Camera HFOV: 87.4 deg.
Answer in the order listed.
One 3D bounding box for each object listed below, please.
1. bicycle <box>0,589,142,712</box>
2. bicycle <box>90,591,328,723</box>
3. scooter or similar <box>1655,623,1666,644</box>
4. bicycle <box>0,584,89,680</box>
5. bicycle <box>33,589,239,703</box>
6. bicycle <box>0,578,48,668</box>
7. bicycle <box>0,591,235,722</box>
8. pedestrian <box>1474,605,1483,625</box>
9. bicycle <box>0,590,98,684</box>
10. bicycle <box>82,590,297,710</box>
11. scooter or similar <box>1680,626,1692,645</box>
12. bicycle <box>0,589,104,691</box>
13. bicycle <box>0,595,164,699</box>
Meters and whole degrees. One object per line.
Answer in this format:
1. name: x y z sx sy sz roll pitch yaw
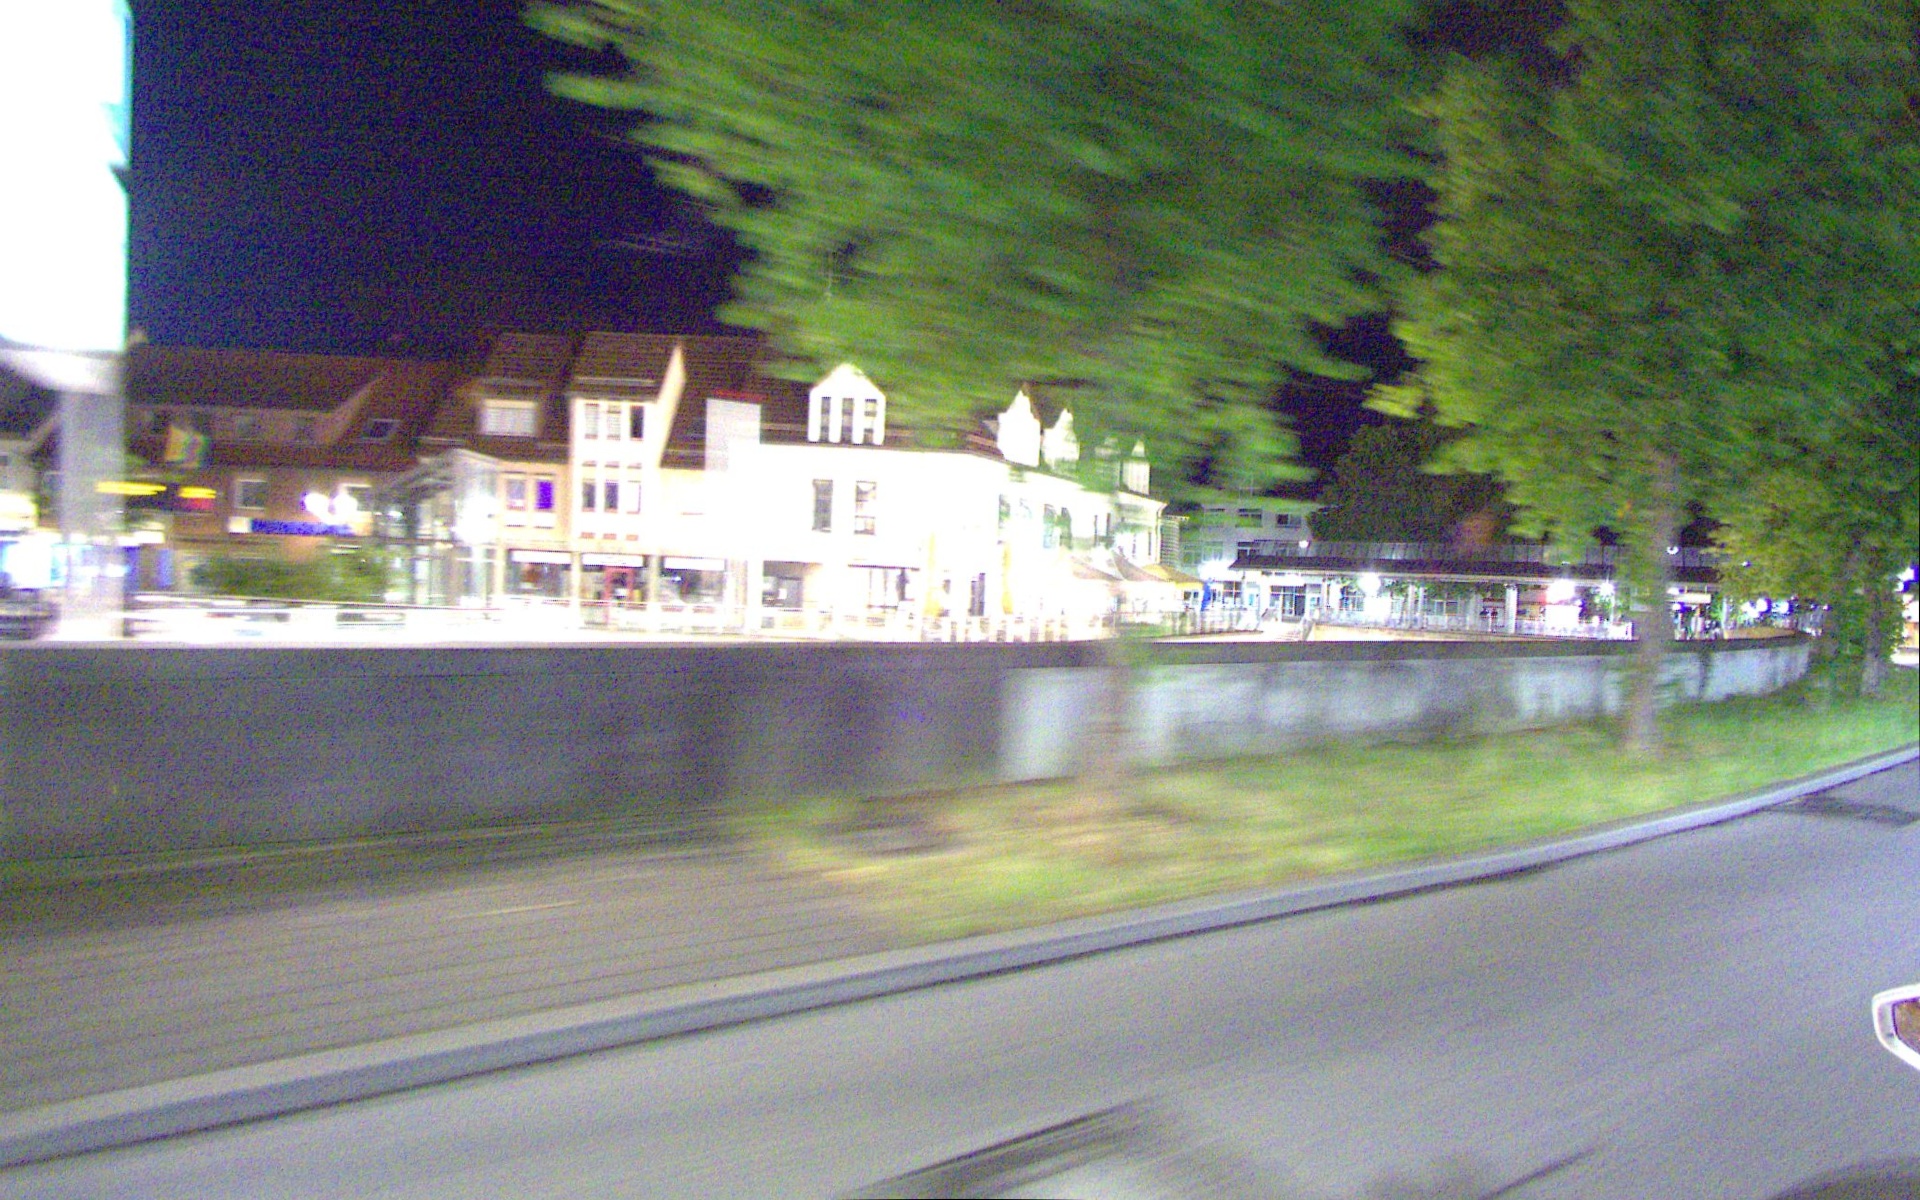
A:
1. bicycle: -9.367 0.487 10.045 0.598 1.181 1.743 1 0 30
2. bicycle: -7.370 0.512 9.947 0.748 1.177 1.743 1 0 30
3. scooter or similar: 42.957 2.047 61.600 0.423 1.302 1.145 1 1 28
4. bicycle: -12.081 0.388 12.577 0.601 1.181 1.736 1 1 45
5. bicycle: -9.142 0.479 11.197 0.601 1.181 1.736 1 1 45
6. bicycle: -13.623 0.311 13.700 0.601 1.235 1.736 1 1 45
7. bicycle: -8.226 0.505 9.850 0.535 1.170 1.743 1 0 30
8. pedestrian: 41.570 1.182 80.497 0.451 1.566 0.481 1 1 -2
9. bicycle: -11.596 0.437 12.152 0.601 1.115 1.736 1 1 45
10. bicycle: -8.228 0.496 10.807 0.598 1.181 1.743 1 0 30
11. scooter or similar: 44.097 2.143 60.992 0.423 1.150 1.002 1 1 28
12. bicycle: -10.947 0.446 11.476 0.601 1.140 1.736 1 1 45
13. bicycle: -10.075 0.497 11.234 0.597 1.084 1.745 1 0 27
